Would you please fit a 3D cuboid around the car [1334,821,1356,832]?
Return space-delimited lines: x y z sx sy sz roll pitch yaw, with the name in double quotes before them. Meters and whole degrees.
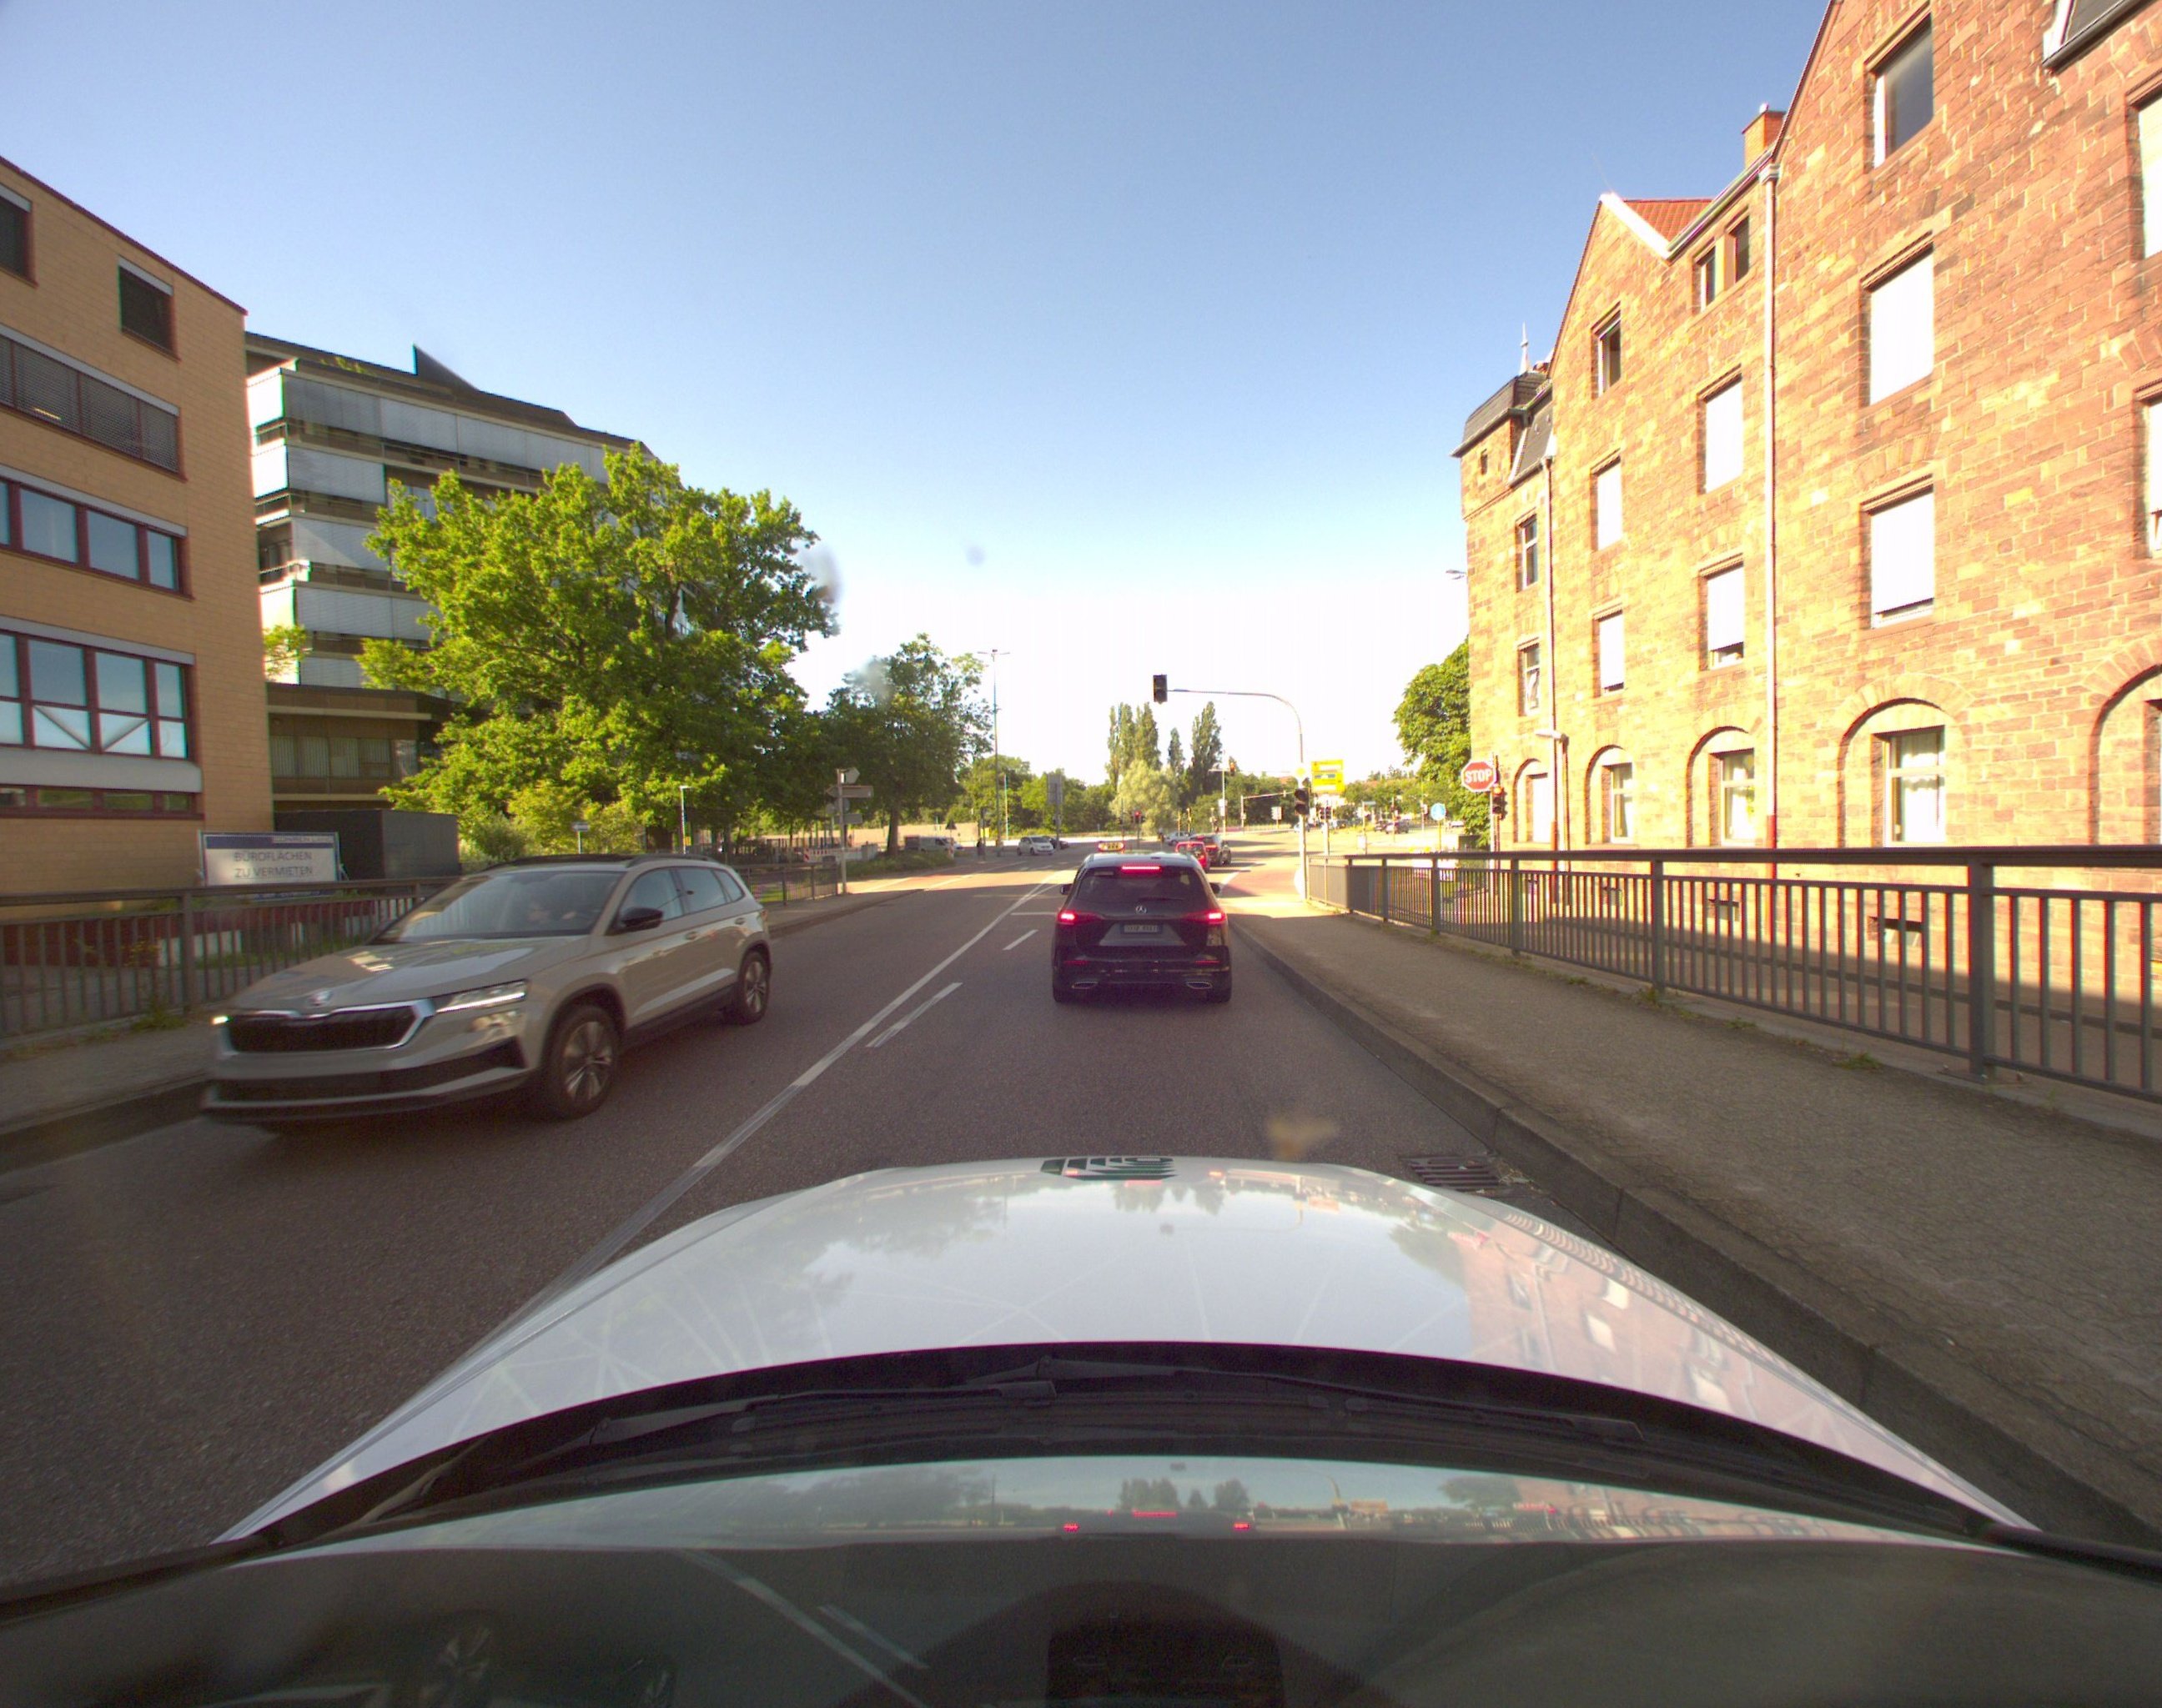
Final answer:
"car" 38.567 -4.017 118.903 1.860 1.578 4.026 -1 2 38

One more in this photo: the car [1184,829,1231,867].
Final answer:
"car" 7.000 -0.363 44.704 1.707 1.811 4.320 -2 2 19

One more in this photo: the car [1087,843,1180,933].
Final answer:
"car" 1.088 0.601 16.648 1.632 1.529 3.478 -3 1 4

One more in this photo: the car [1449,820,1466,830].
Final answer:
"car" 56.326 -4.307 121.754 1.974 1.365 4.342 -1 3 29

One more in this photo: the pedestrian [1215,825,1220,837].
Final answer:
"pedestrian" 19.284 -3.247 115.160 0.446 1.585 0.504 -2 1 42

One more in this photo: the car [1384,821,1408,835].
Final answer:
"car" 37.605 -3.122 97.204 1.722 1.498 4.026 -2 0 34

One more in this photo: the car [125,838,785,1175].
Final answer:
"car" -3.882 0.761 6.113 1.798 1.623 3.999 -2 0 0

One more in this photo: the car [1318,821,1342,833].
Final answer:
"car" 34.877 -3.766 113.824 1.860 1.578 4.026 -1 2 38

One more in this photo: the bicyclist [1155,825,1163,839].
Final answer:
"bicyclist" 8.895 -2.521 93.057 0.521 1.551 0.812 -2 1 43

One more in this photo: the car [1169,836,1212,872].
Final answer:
"car" 5.269 -0.029 39.020 1.710 1.521 3.499 -1 3 13

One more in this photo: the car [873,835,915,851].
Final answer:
"car" -20.095 -1.190 87.580 3.954 1.629 1.900 -1 1 19

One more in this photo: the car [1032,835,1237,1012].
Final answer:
"car" 0.550 0.621 9.495 1.871 1.613 4.002 0 0 2

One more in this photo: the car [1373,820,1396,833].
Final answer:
"car" 39.979 -3.631 107.227 1.866 1.547 4.025 -1 -1 37

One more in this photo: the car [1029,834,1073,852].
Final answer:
"car" -2.991 -1.096 81.295 3.961 1.629 1.897 -2 1 11

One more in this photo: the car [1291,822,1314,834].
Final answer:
"car" 33.678 -3.935 123.712 1.860 1.578 4.026 -1 2 38

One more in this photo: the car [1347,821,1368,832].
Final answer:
"car" 42.464 -4.228 124.951 1.860 1.578 4.026 -1 2 38

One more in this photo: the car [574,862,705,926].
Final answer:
"car" -14.010 1.221 26.144 1.844 1.692 4.002 -2 2 2

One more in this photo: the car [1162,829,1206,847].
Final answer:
"car" 10.249 -1.596 80.958 3.980 1.629 1.888 -2 1 -5

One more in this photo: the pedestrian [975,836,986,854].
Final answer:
"pedestrian" -8.424 -0.765 68.042 0.700 1.525 0.746 -1 1 12

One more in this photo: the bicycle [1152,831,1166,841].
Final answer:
"bicycle" 8.911 -2.071 93.082 0.521 1.050 2.002 -2 1 43

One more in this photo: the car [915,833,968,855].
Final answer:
"car" -13.003 -0.904 75.705 4.835 1.794 1.937 -2 2 35

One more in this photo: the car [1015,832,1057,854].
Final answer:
"car" -3.648 -0.909 65.800 1.789 1.635 3.962 -4 3 -29
